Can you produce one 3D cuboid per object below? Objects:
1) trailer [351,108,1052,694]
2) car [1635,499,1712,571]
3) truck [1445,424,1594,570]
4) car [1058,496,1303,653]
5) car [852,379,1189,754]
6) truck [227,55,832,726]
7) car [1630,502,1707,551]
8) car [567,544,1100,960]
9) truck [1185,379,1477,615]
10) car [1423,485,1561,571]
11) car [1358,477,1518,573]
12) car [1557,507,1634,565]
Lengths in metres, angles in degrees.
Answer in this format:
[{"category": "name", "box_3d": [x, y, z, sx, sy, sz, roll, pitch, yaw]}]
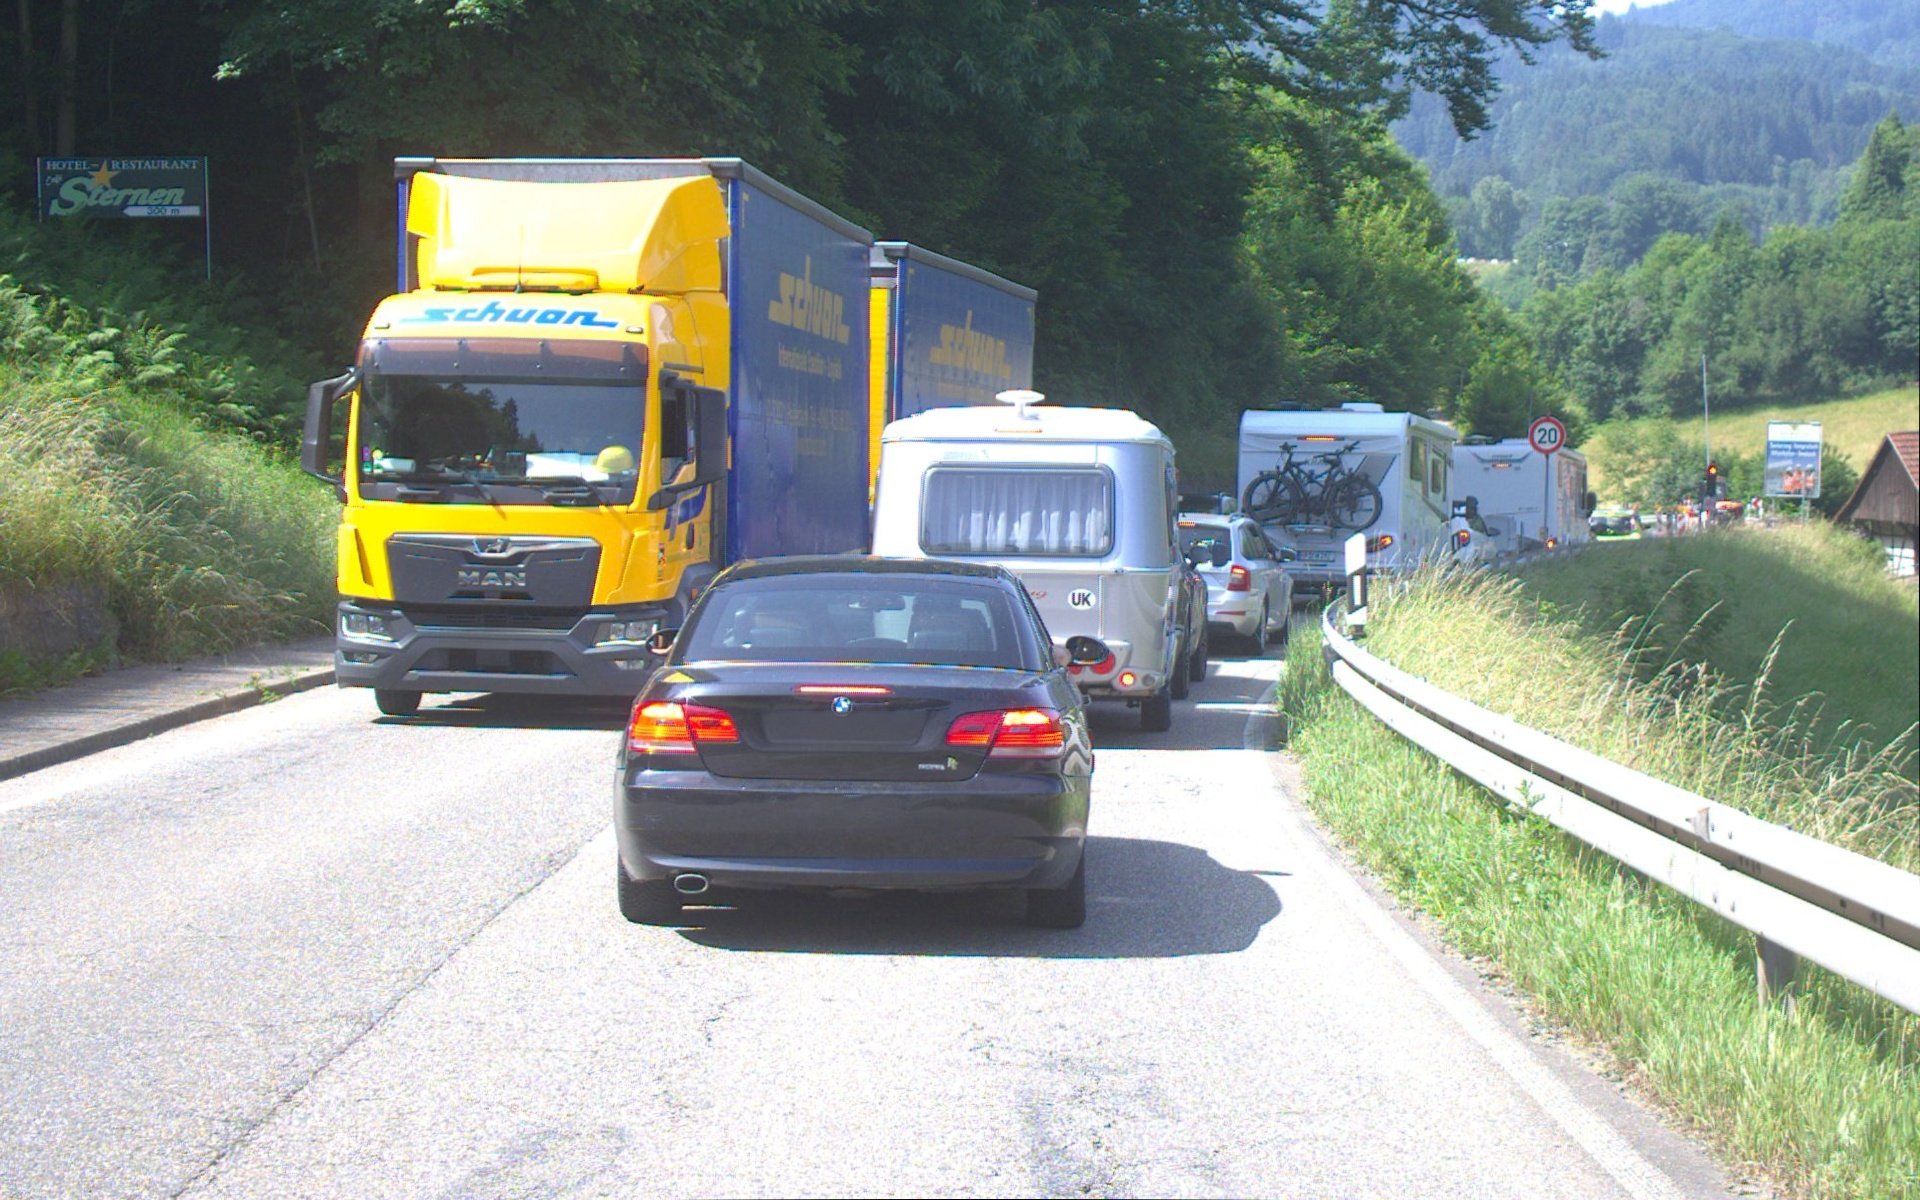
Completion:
[{"category": "trailer", "box_3d": [-1.808, -1.805, 33.823, 3.261, 4.402, 15.311, 2, 2, 9]}, {"category": "car", "box_3d": [21.166, -1.910, 101.830, 1.995, 1.919, 3.998, 5, 1, 13]}, {"category": "truck", "box_3d": [11.552, -2.063, 70.648, 2.239, 2.794, 6.227, 2, 1, 16]}, {"category": "car", "box_3d": [2.404, -0.306, 36.487, 1.995, 1.479, 3.998, 3, 2, 12]}, {"category": "car", "box_3d": [0.542, -0.335, 24.320, 1.994, 2.344, 4.914, 1, 3, 5]}, {"category": "truck", "box_3d": [-3.015, -1.545, 26.212, 3.189, 4.381, 6.571, 2, 3, 5]}, {"category": "car", "box_3d": [24.633, -2.550, 119.465, 1.995, 1.570, 3.996, 2, 1, 20]}, {"category": "car", "box_3d": [-0.360, 0.488, 13.614, 1.771, 1.331, 3.767, 1, 2, 3]}, {"category": "truck", "box_3d": [5.382, -1.479, 48.754, 2.793, 2.987, 6.863, 4, 3, 16]}, {"category": "car", "box_3d": [9.917, -1.362, 63.897, 1.789, 1.459, 3.997, 4, 3, 19]}, {"category": "car", "box_3d": [8.157, -1.298, 58.384, 1.995, 1.459, 3.997, 4, 3, 17]}, {"category": "car", "box_3d": [17.154, -1.715, 92.694, 1.907, 1.481, 3.998, 2, 1, 12]}]
